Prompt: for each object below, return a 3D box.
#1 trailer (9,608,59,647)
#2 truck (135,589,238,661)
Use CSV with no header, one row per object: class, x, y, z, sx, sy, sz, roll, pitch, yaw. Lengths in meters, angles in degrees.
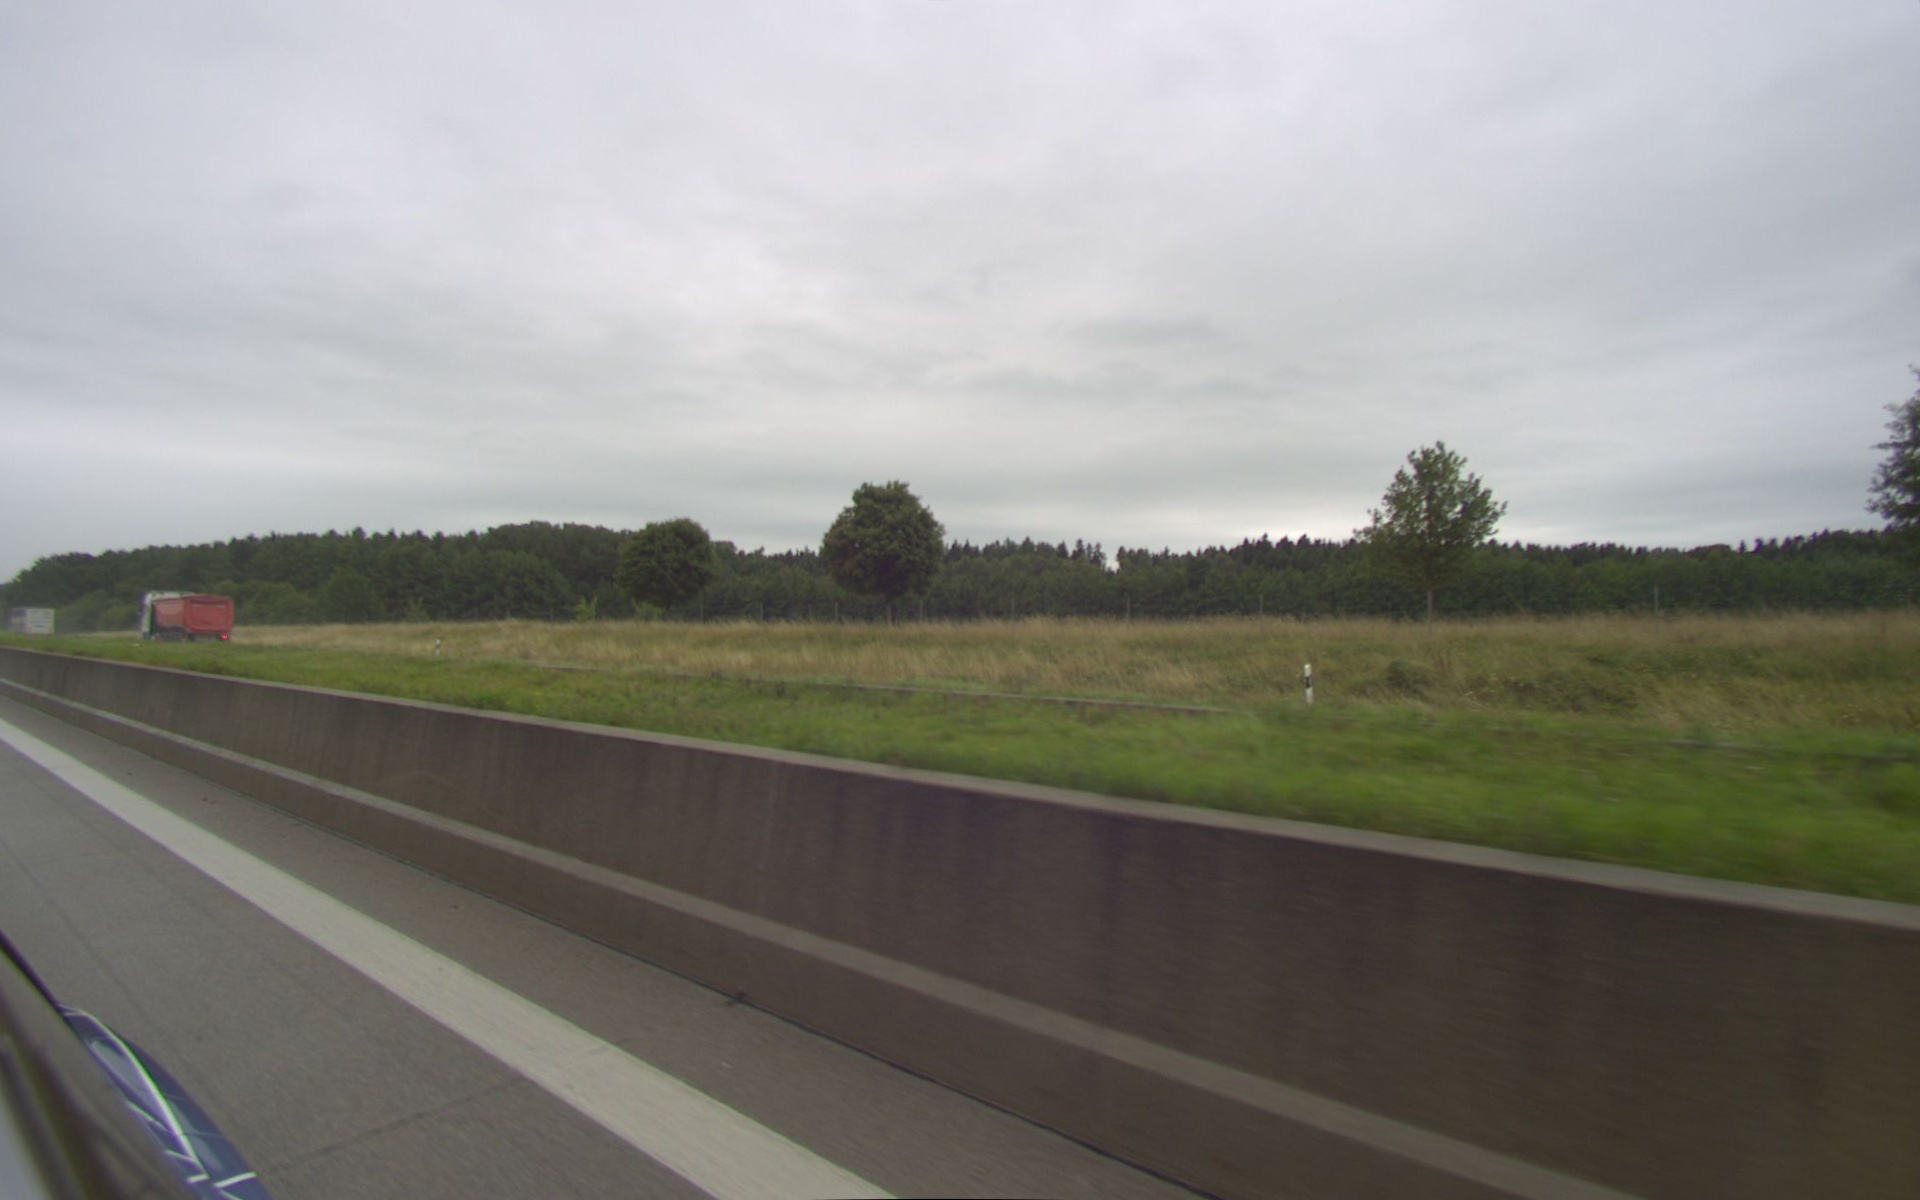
trailer,-109.396,3.208,119.447,13.551,4.373,3.193,-2,-1,43
truck,-50.298,1.499,65.571,13.098,4.238,2.725,0,-2,42
